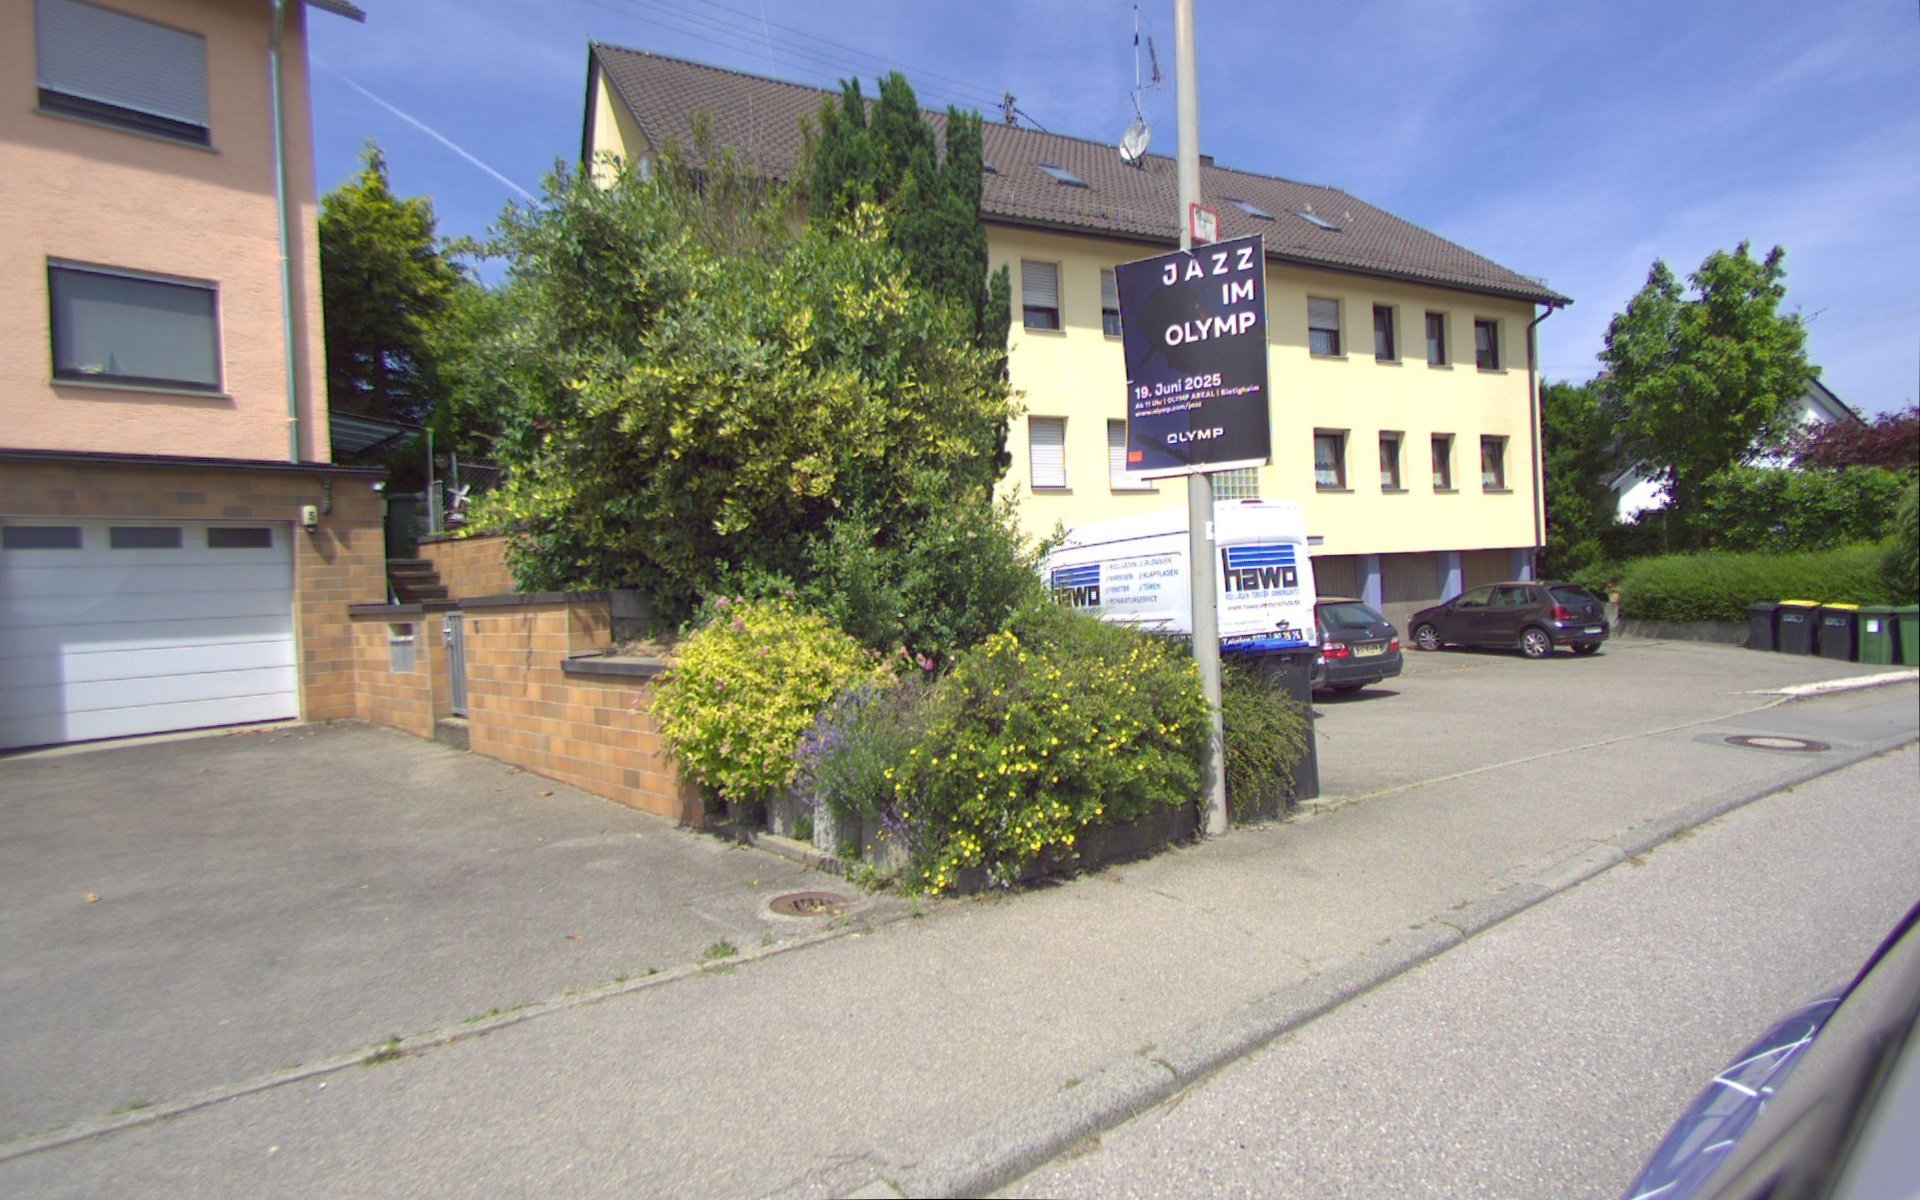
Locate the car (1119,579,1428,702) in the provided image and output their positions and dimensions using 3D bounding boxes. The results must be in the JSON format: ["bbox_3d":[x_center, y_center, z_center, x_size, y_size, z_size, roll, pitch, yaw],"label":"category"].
[{"bbox_3d":[4.747,0.536,16.119,1.870,1.582,4.720,-3,1,-28],"label":"car"}]

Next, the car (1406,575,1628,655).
[{"bbox_3d":[11.171,0.264,20.556,1.610,1.436,3.699,-2,1,-25],"label":"car"}]

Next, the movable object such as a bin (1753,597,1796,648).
[{"bbox_3d":[16.132,0.437,20.038,0.505,0.967,0.451,0,3,-26],"label":"movable object such as a bin"}]

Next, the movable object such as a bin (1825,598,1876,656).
[{"bbox_3d":[16.677,0.495,18.957,0.552,1.034,0.487,0,2,-23],"label":"movable object such as a bin"}]

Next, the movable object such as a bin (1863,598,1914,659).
[{"bbox_3d":[16.882,0.503,18.402,0.552,1.084,0.487,0,0,-23],"label":"movable object such as a bin"}]

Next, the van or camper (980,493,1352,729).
[{"bbox_3d":[2.590,0.154,14.372,2.239,2.680,5.249,-3,0,-27],"label":"van or camper"}]

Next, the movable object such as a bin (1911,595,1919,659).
[{"bbox_3d":[17.188,0.468,17.816,0.553,1.121,0.486,0,0,-27],"label":"movable object such as a bin"}]

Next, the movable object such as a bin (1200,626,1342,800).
[{"bbox_3d":[2.082,0.739,6.794,0.646,1.083,0.551,0,-6,-35],"label":"movable object such as a bin"}]

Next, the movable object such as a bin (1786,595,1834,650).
[{"bbox_3d":[16.408,0.425,19.543,0.552,1.034,0.487,0,2,-23],"label":"movable object such as a bin"}]
